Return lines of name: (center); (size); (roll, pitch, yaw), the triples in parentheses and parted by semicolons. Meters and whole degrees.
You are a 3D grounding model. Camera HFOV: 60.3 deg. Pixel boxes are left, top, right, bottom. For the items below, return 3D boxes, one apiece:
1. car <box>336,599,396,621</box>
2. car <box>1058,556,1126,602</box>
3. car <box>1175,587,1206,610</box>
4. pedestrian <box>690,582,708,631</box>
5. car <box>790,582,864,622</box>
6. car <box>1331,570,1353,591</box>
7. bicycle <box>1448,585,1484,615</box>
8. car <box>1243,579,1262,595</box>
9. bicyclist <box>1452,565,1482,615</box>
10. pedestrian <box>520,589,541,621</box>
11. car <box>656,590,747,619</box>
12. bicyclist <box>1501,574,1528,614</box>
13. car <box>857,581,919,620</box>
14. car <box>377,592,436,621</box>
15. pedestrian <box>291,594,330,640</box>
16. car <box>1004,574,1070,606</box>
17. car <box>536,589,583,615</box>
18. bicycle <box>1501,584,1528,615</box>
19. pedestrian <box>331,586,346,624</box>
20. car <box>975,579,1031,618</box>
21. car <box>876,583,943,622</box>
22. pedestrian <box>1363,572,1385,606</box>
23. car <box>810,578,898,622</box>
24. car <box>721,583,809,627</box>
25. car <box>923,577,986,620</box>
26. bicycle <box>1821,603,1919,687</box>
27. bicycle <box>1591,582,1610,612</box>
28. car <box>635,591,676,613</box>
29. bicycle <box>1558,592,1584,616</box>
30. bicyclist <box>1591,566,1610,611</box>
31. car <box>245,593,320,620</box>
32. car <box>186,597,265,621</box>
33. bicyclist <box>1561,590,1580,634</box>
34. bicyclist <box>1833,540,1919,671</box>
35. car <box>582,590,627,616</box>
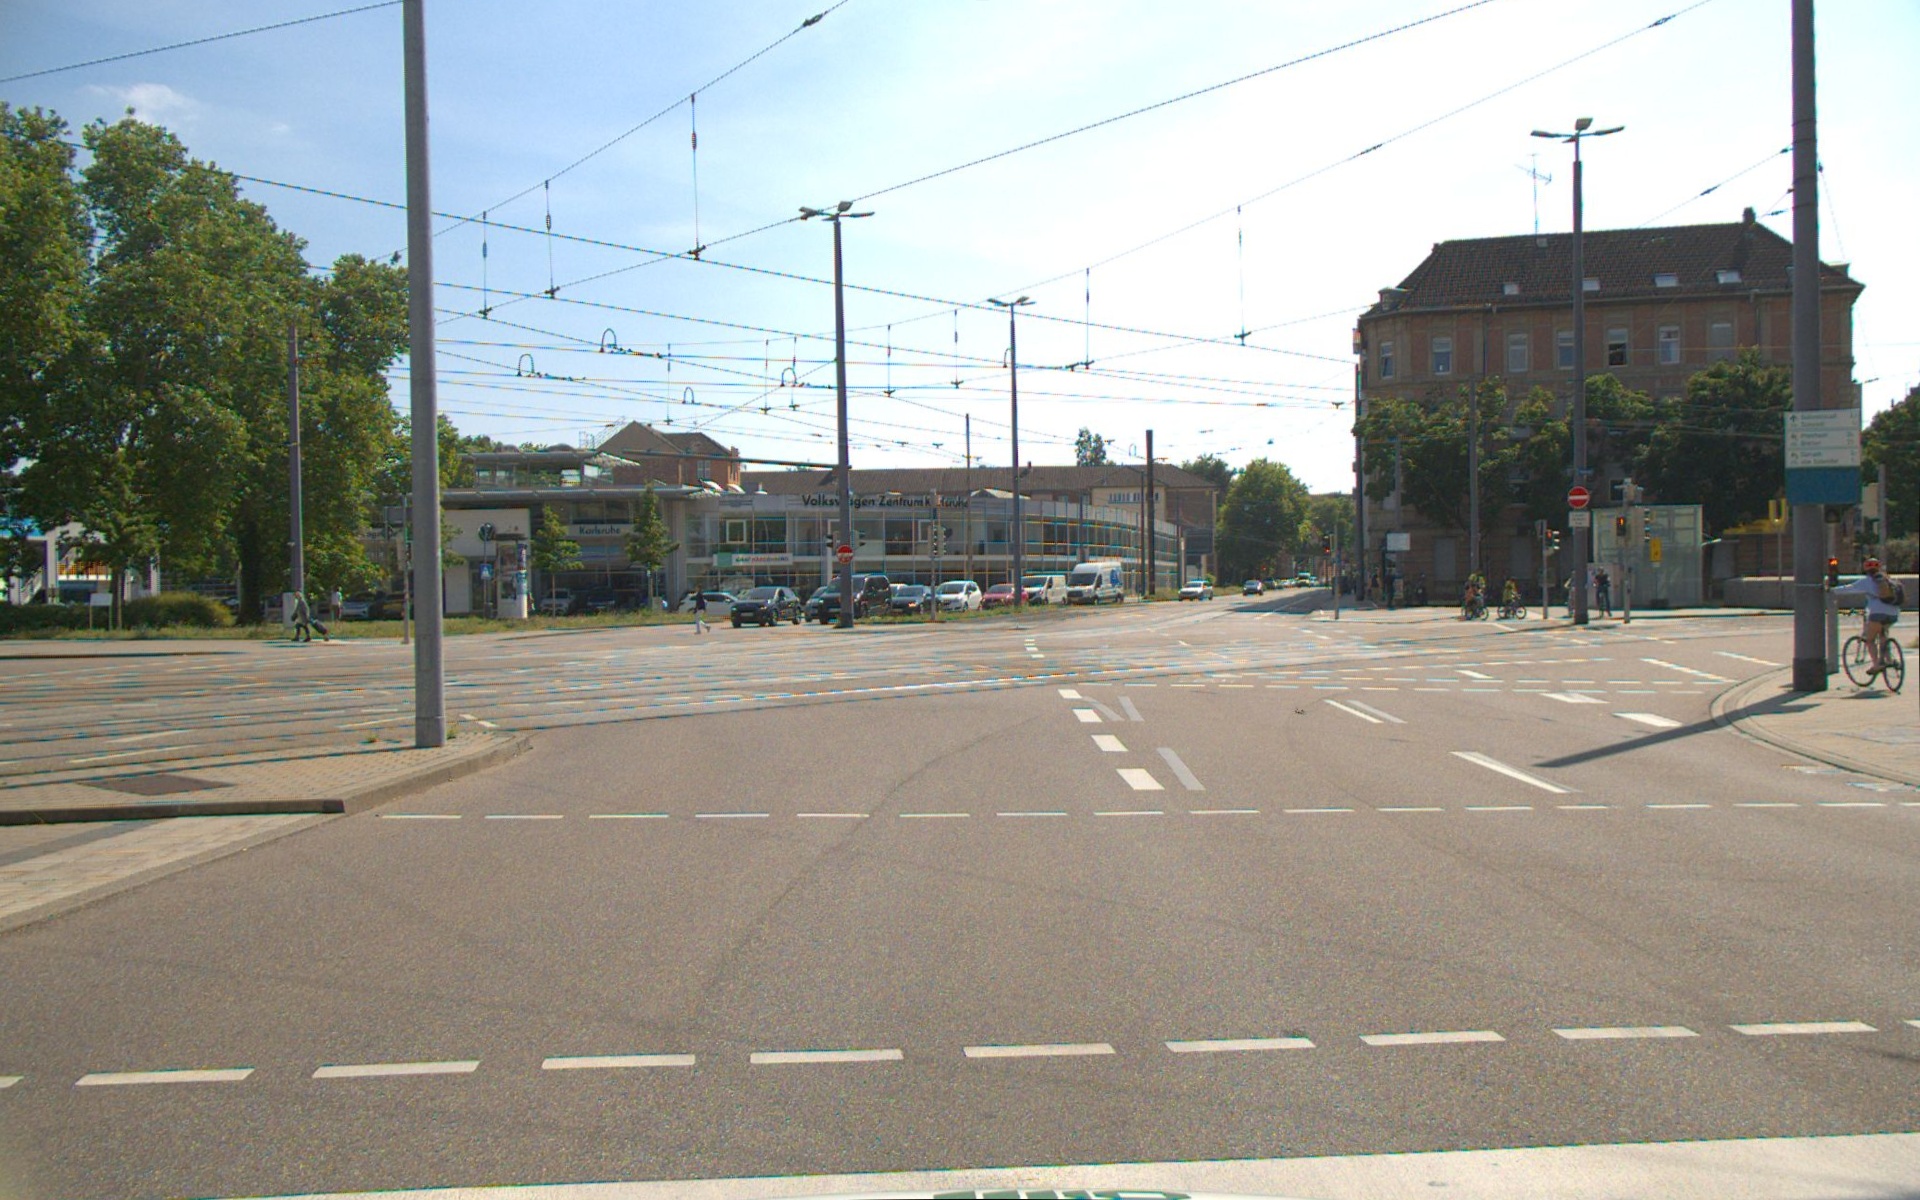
car: (-35.987, 0.585, 100.280); (1.951, 1.266, 4.002); (1, 0, 4)
car: (7.989, -1.240, 99.815); (2.165, 2.620, 5.870); (1, 0, 25)
car: (17.151, -0.079, 122.894); (1.357, 1.653, 3.337); (1, 0, 25)
pedestrian: (-8.617, 0.215, 54.646); (0.449, 1.633, 0.395); (1, -1, -37)
car: (-5.641, 0.098, 70.704); (1.854, 1.615, 4.002); (-1, -1, 16)
car: (38.341, -1.924, 165.868); (2.063, 2.049, 4.004); (-1, 1, 13)
bicycle: (19.021, 0.025, 62.211); (0.907, 1.088, 2.749); (1, 0, 9)
car: (27.981, -1.223, 157.955); (1.355, 1.439, 3.013); (1, 0, 18)
bicyclist: (19.004, -0.367, 62.037); (0.907, 1.852, 1.053); (1, -1, 9)
pedestrian: (-22.062, 0.243, 84.888); (0.934, 1.607, 0.534); (1, -1, -4)
car: (-13.676, 0.247, 87.572); (4.487, 1.461, 1.445); (1, 0, 13)
bicyclist: (20.718, -0.225, 61.819); (0.907, 1.477, 1.252); (1, 1, 18)
car: (-3.367, 0.052, 78.061); (1.616, 1.769, 4.203); (-1, -1, 16)
car: (-33.678, 0.404, 100.711); (1.951, 1.713, 4.002); (1, 0, 4)
pedestrian: (-20.480, 0.541, 52.137); (1.098, 1.428, 0.652); (1, -1, -23)
car: (4.335, -0.591, 92.451); (2.140, 1.710, 5.029); (-1, 0, 22)
car: (-24.190, 0.099, 100.019); (1.953, 1.512, 3.998); (1, 0, -2)
bicycle: (20.799, -0.030, 62.043); (0.907, 1.088, 2.842); (1, 1, 18)
pedestrian: (-27.217, 0.216, 72.457); (0.384, 1.624, 0.464); (1, -1, 23)
car: (2.261, -0.062, 85.366); (1.854, 1.950, 4.203); (-1, -1, 16)
car: (-2.147, 0.119, 71.108); (1.854, 1.615, 4.003); (-1, -1, 13)
pedestrian: (18.112, -0.477, 72.370); (0.608, 1.458, 0.703); (1, -1, -38)
car: (-4.094, -0.040, 64.502); (1.919, 1.615, 4.719); (-1, 1, 16)
car: (-7.477, 0.209, 63.865); (1.851, 1.615, 4.213); (-1, -1, 16)
car: (-0.236, -0.041, 78.430); (1.854, 1.950, 4.203); (-1, -1, 16)
bicycle: (12.471, 0.590, 22.449); (0.699, 1.033, 2.022); (-3, 0, 7)
bicycle: (23.863, -0.137, 61.603); (0.653, 1.088, 2.463); (1, 1, 22)
car: (-18.334, 0.117, 99.691); (1.793, 1.216, 3.998); (1, 0, -2)
bicycle: (22.882, 0.142, 61.979); (0.489, 0.881, 1.588); (1, 1, 4)
bicyclist: (23.837, -0.425, 61.535); (0.653, 1.652, 0.782); (1, 1, 22)
car: (-42.650, 0.412, 104.171); (3.907, 1.579, 1.999); (-1, 0, -3)
car: (-44.868, 0.530, 101.093); (3.906, 1.395, 1.999); (1, 0, -1)
bicyclist: (22.874, 0.442, 61.965); (0.489, 1.649, 0.650); (1, 0, 4)
bicyclist: (12.435, 0.068, 22.442); (0.699, 1.698, 0.875); (-3, 0, 7)
car: (-21.463, 0.186, 100.032); (1.953, 1.512, 3.998); (1, 0, -2)
